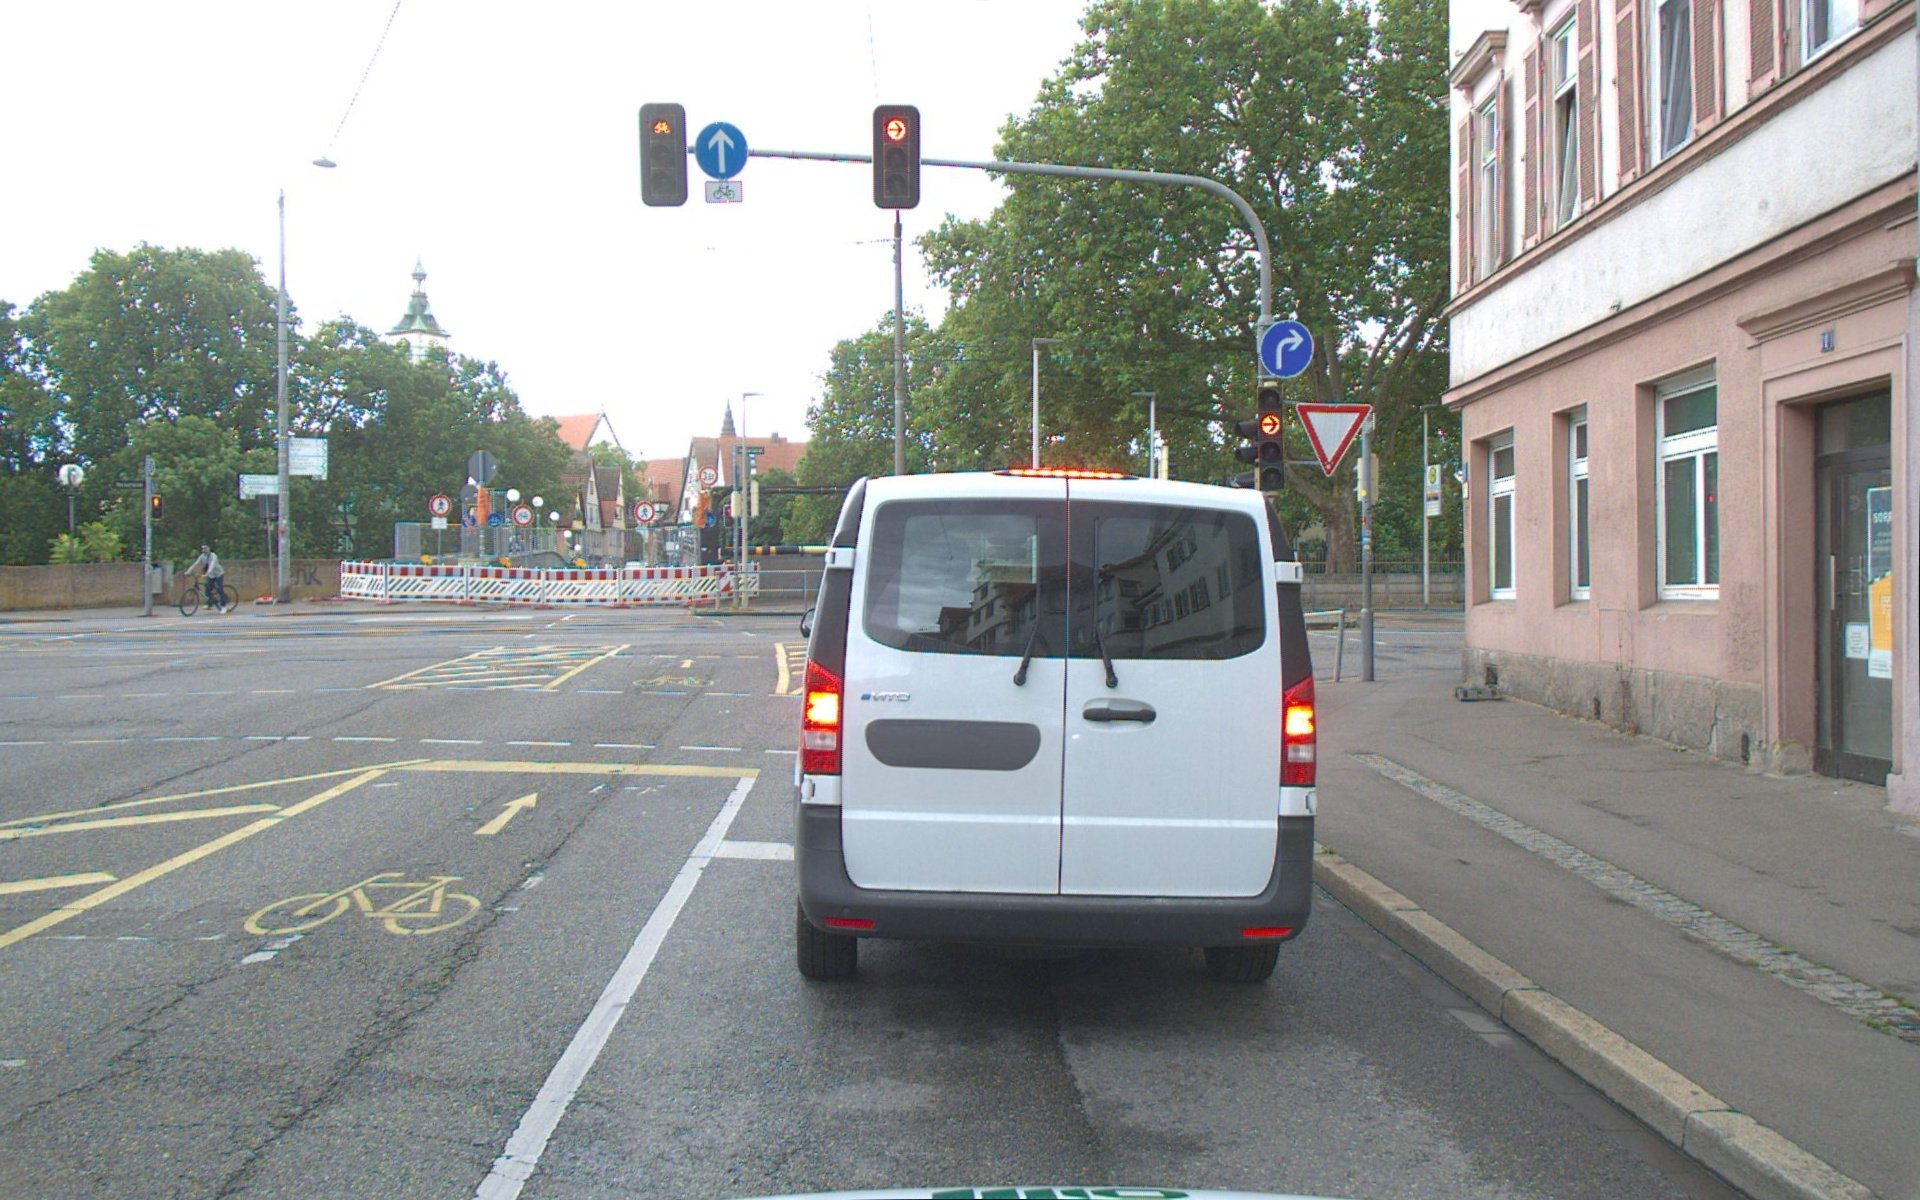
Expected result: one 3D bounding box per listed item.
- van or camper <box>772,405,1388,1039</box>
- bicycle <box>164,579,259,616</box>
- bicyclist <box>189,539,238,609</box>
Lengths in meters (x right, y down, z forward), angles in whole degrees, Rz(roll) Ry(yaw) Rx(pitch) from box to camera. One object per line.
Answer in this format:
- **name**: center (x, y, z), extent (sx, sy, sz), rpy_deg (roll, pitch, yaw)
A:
- **van or camper**: center (0.267, 0.336, 7.399), extent (1.899, 1.958, 4.439), rpy_deg (1, 2, -3)
- **bicycle**: center (-19.370, -0.075, 42.822), extent (2.121, 0.907, 0.748), rpy_deg (-2, 3, -43)
- **bicyclist**: center (-19.328, -0.686, 42.838), extent (0.997, 1.773, 0.743), rpy_deg (-1, 2, -43)
